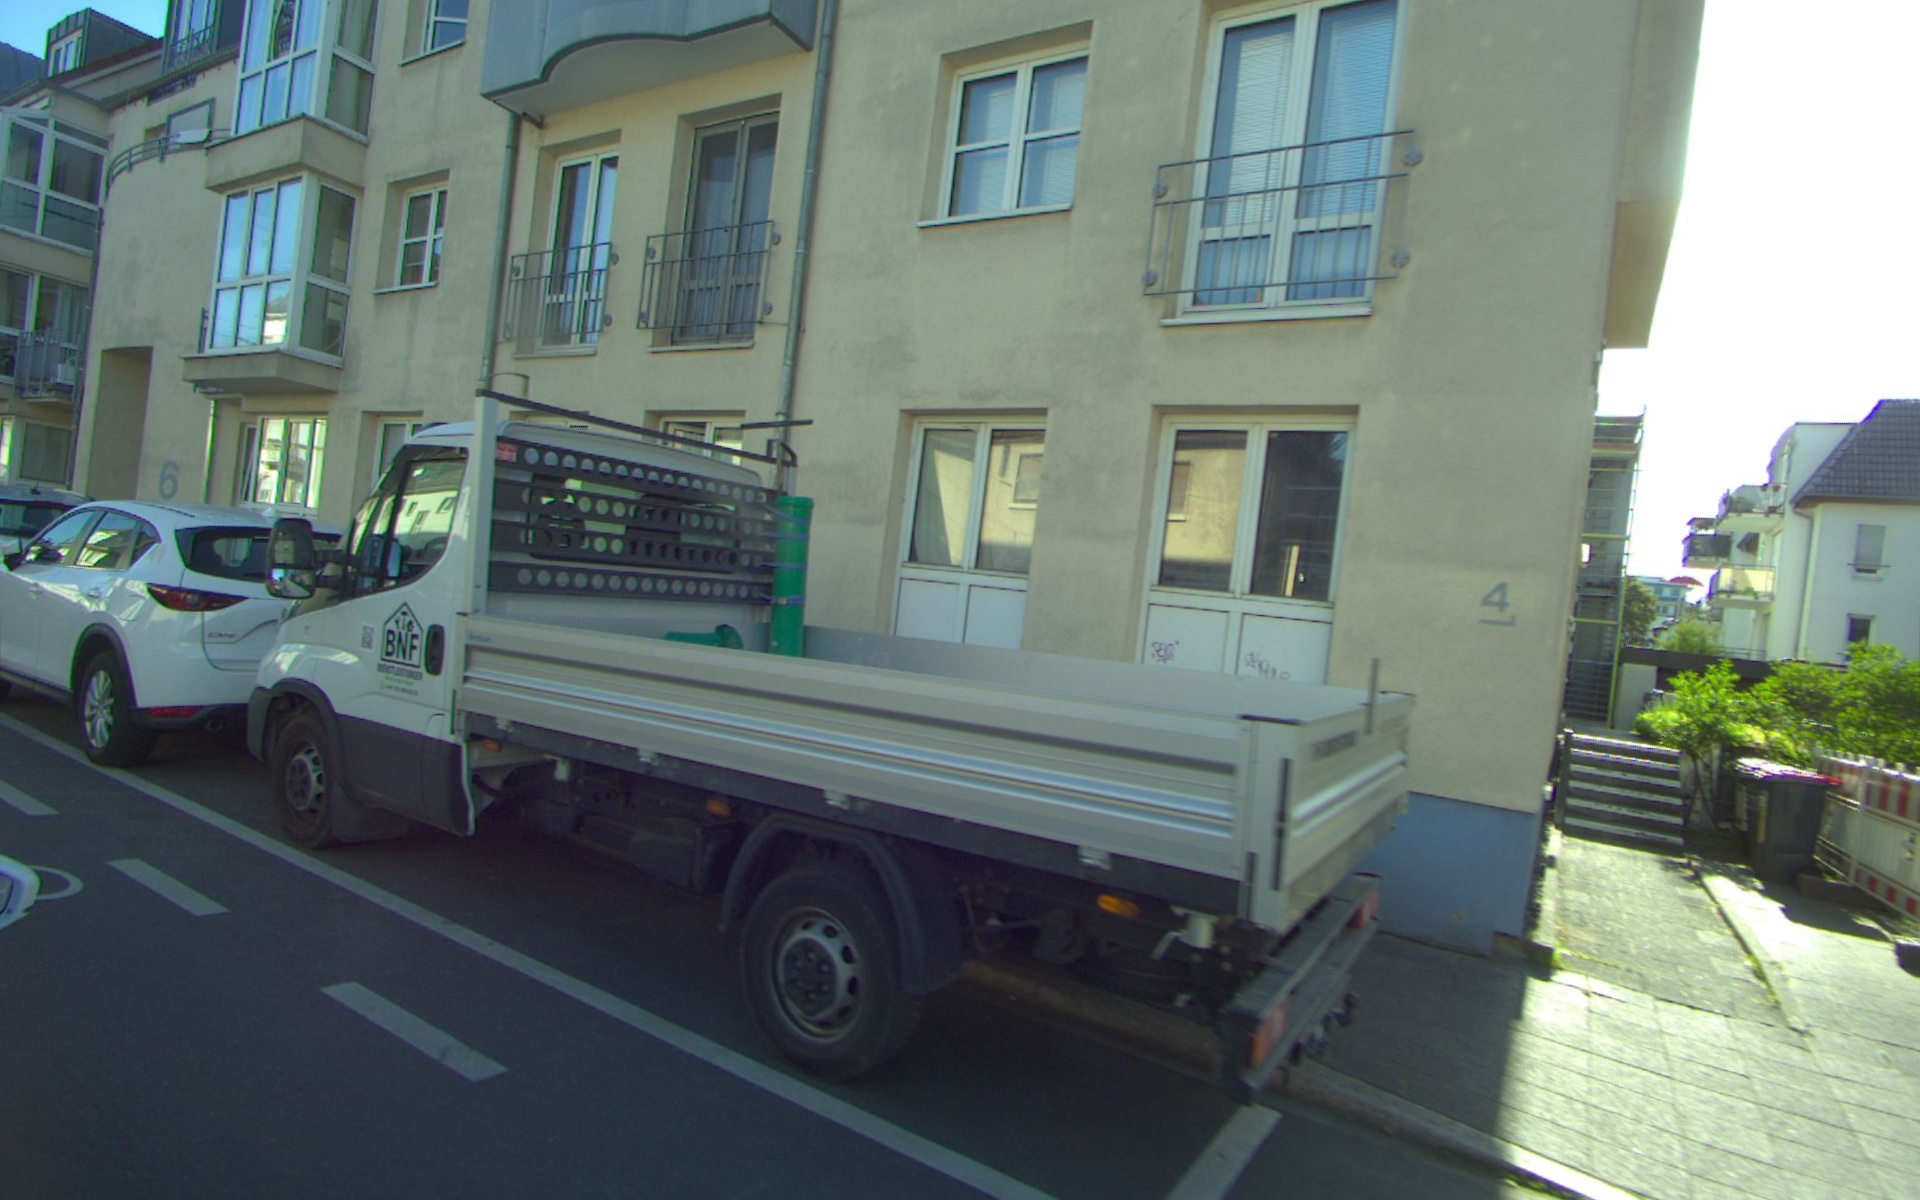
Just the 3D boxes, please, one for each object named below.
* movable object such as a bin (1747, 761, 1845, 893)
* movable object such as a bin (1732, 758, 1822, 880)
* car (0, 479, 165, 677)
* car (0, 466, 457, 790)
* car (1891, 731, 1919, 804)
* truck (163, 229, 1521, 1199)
[{"bbox_3d":[7.060,1.898,8.521,0.480,0.961,0.608,7,0,33],"label":"movable object such as a bin"},{"bbox_3d":[7.434,1.976,9.173,0.480,0.961,0.608,7,0,33],"label":"movable object such as a bin"},{"bbox_3d":[-10.127,-0.364,10.367,3.923,1.719,1.606,6,-3,31],"label":"car"},{"bbox_3d":[-5.895,0.093,7.506,4.185,1.766,1.743,6,-3,32],"label":"car"},{"bbox_3d":[21.562,3.733,21.501,1.625,1.523,3.503,7,-1,31],"label":"car"},{"bbox_3d":[-0.992,0.273,4.743,6.045,2.507,2.299,6,-1,32],"label":"truck"}]
